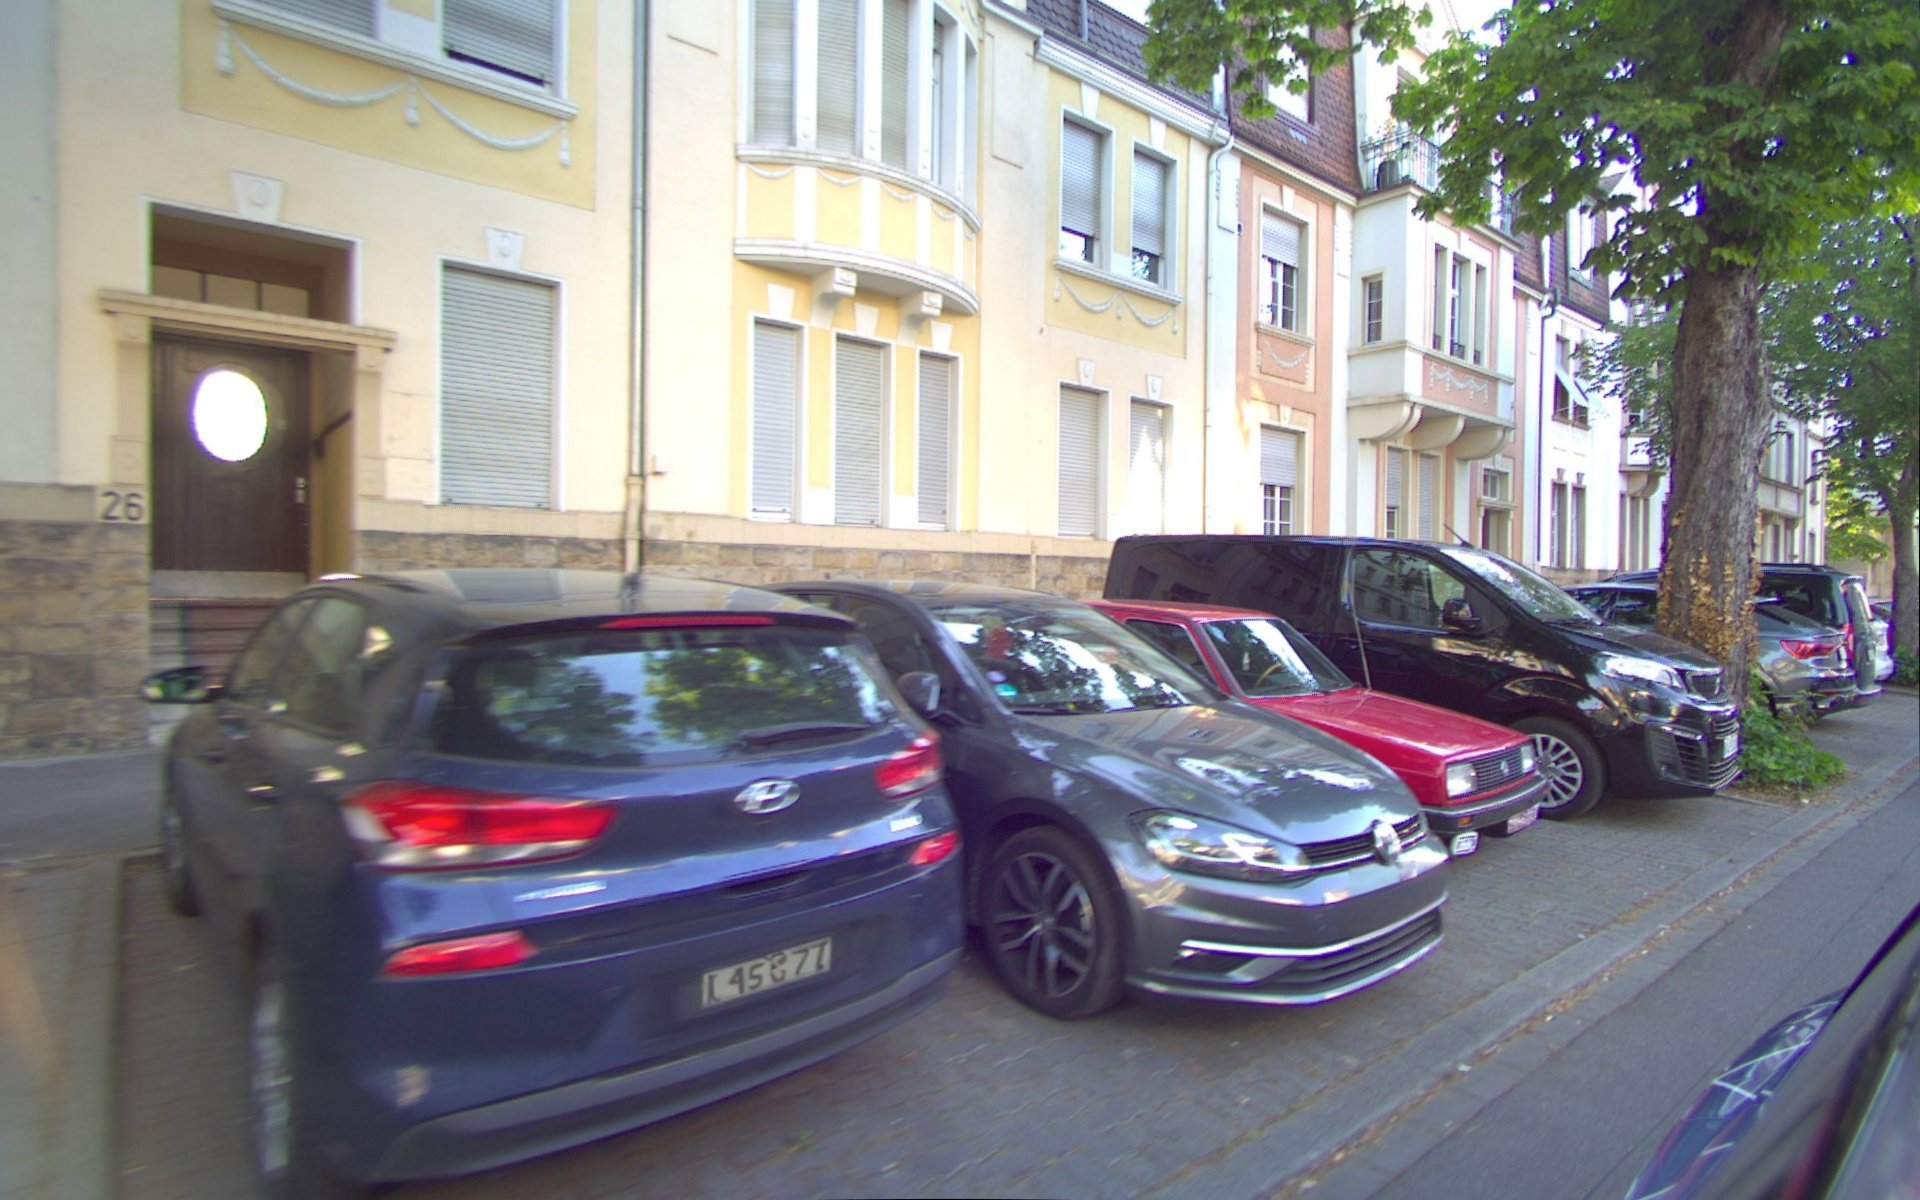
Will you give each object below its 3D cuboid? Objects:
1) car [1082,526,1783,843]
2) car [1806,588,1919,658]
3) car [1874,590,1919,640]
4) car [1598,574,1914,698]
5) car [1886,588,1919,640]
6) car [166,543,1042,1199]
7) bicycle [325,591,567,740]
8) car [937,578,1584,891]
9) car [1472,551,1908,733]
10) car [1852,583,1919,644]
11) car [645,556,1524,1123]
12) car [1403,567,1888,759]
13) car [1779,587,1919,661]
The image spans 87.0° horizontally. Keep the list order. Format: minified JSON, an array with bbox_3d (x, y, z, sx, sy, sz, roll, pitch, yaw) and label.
[{"bbox_3d":[3.468,0.353,8.285,1.850,1.846,4.828,-1,4,-43],"label":"car"},{"bbox_3d":[21.734,0.543,22.976,1.510,1.482,3.623,0,3,-39],"label":"car"},{"bbox_3d":[29.052,0.500,29.305,1.510,1.420,3.622,0,2,-39],"label":"car"},{"bbox_3d":[12.210,0.452,15.683,1.512,1.569,3.618,0,3,-43],"label":"car"},{"bbox_3d":[31.026,0.497,31.059,1.510,1.584,3.622,0,2,-39],"label":"car"},{"bbox_3d":[-1.630,0.559,3.535,1.600,1.439,3.757,-1,4,-41],"label":"car"},{"bbox_3d":[-4.147,0.490,8.240,1.673,1.089,0.501,1,3,-40],"label":"bicycle"},{"bbox_3d":[1.691,0.594,6.758,1.531,1.337,3.919,-1,4,-41],"label":"car"},{"bbox_3d":[8.920,0.355,12.668,1.568,1.849,4.167,-1,4,-43],"label":"car"},{"bbox_3d":[26.606,0.392,27.269,1.510,1.584,3.622,0,2,-39],"label":"car"},{"bbox_3d":[0.143,0.566,4.755,1.600,1.439,4.057,-1,4,-41],"label":"car"},{"bbox_3d":[7.349,0.509,11.203,1.568,1.611,4.167,-1,4,-43],"label":"car"},{"bbox_3d":[19.797,0.512,21.372,1.510,1.420,3.623,0,3,-39],"label":"car"}]
